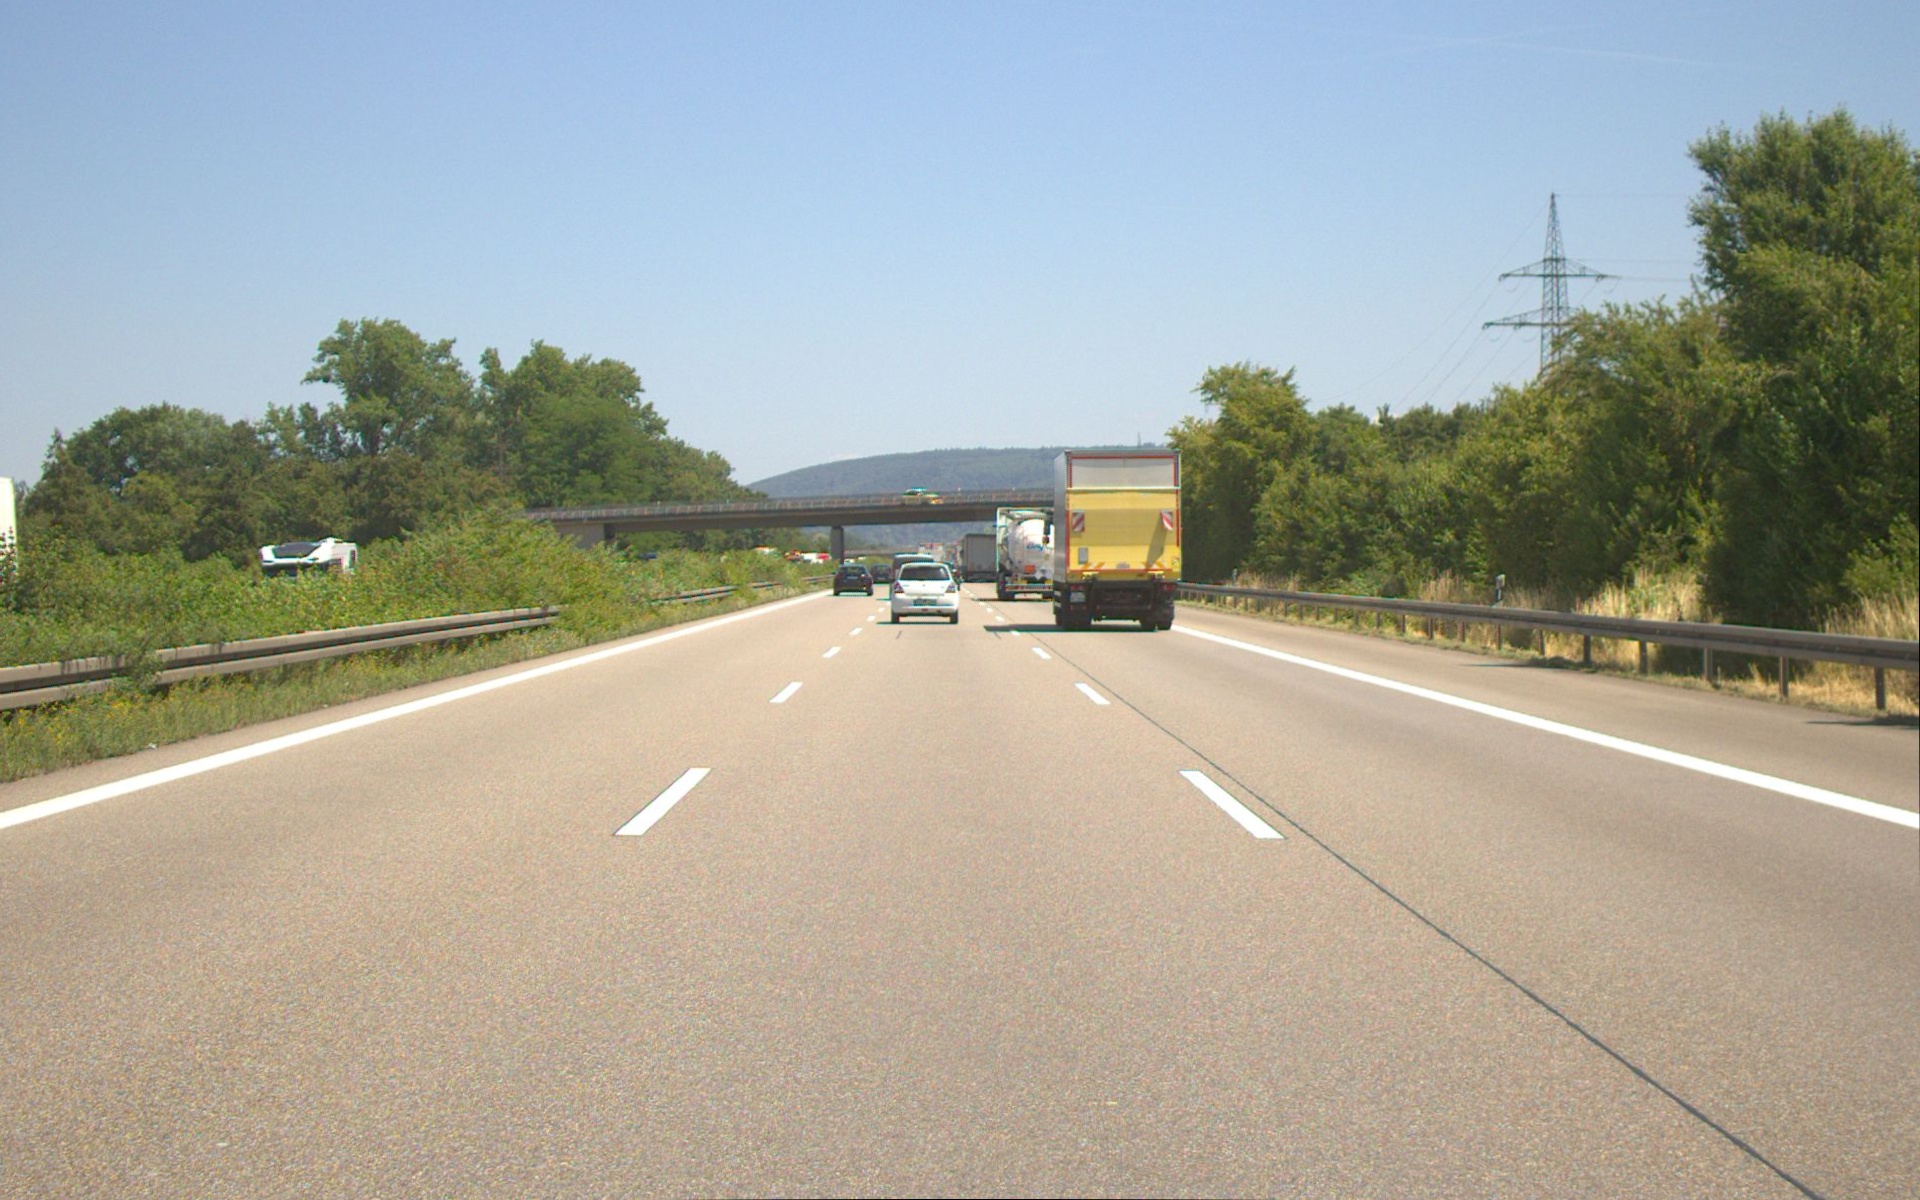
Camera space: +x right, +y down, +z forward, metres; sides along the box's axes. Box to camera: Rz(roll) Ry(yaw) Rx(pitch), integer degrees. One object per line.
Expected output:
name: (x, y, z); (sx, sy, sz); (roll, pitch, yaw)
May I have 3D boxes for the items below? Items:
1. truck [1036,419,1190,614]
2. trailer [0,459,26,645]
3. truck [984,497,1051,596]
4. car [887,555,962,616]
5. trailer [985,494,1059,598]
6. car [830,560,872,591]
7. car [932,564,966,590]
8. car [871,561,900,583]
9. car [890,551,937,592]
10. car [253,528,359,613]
truck: (3.447, -1.884, 80.181); (2.933, 4.185, 10.682); (1, 1, -1)
trailer: (-21.273, -0.965, 66.120); (2.933, 3.856, 13.911); (1, 1, -1)
truck: (2.411, -2.248, 145.734); (2.573, 4.058, 6.393); (1, 1, -1)
car: (-0.883, -0.384, 86.483); (1.806, 1.463, 4.000); (1, 1, 0)
trailer: (2.481, -2.188, 141.029); (2.580, 4.060, 11.104); (1, 1, -1)
car: (-5.016, -1.123, 158.757); (1.835, 1.382, 4.000); (1, 1, 0)
car: (-0.621, -1.296, 190.015); (1.835, 1.382, 4.000); (1, 1, 0)
car: (-4.962, -1.866, 229.030); (1.835, 1.382, 4.000); (1, 1, 0)
car: (-1.920, -1.189, 142.349); (1.852, 1.627, 4.000); (1, 1, 0)
car: (-21.578, -0.969, 113.701); (2.470, 2.699, 5.519); (1, 1, 0)
